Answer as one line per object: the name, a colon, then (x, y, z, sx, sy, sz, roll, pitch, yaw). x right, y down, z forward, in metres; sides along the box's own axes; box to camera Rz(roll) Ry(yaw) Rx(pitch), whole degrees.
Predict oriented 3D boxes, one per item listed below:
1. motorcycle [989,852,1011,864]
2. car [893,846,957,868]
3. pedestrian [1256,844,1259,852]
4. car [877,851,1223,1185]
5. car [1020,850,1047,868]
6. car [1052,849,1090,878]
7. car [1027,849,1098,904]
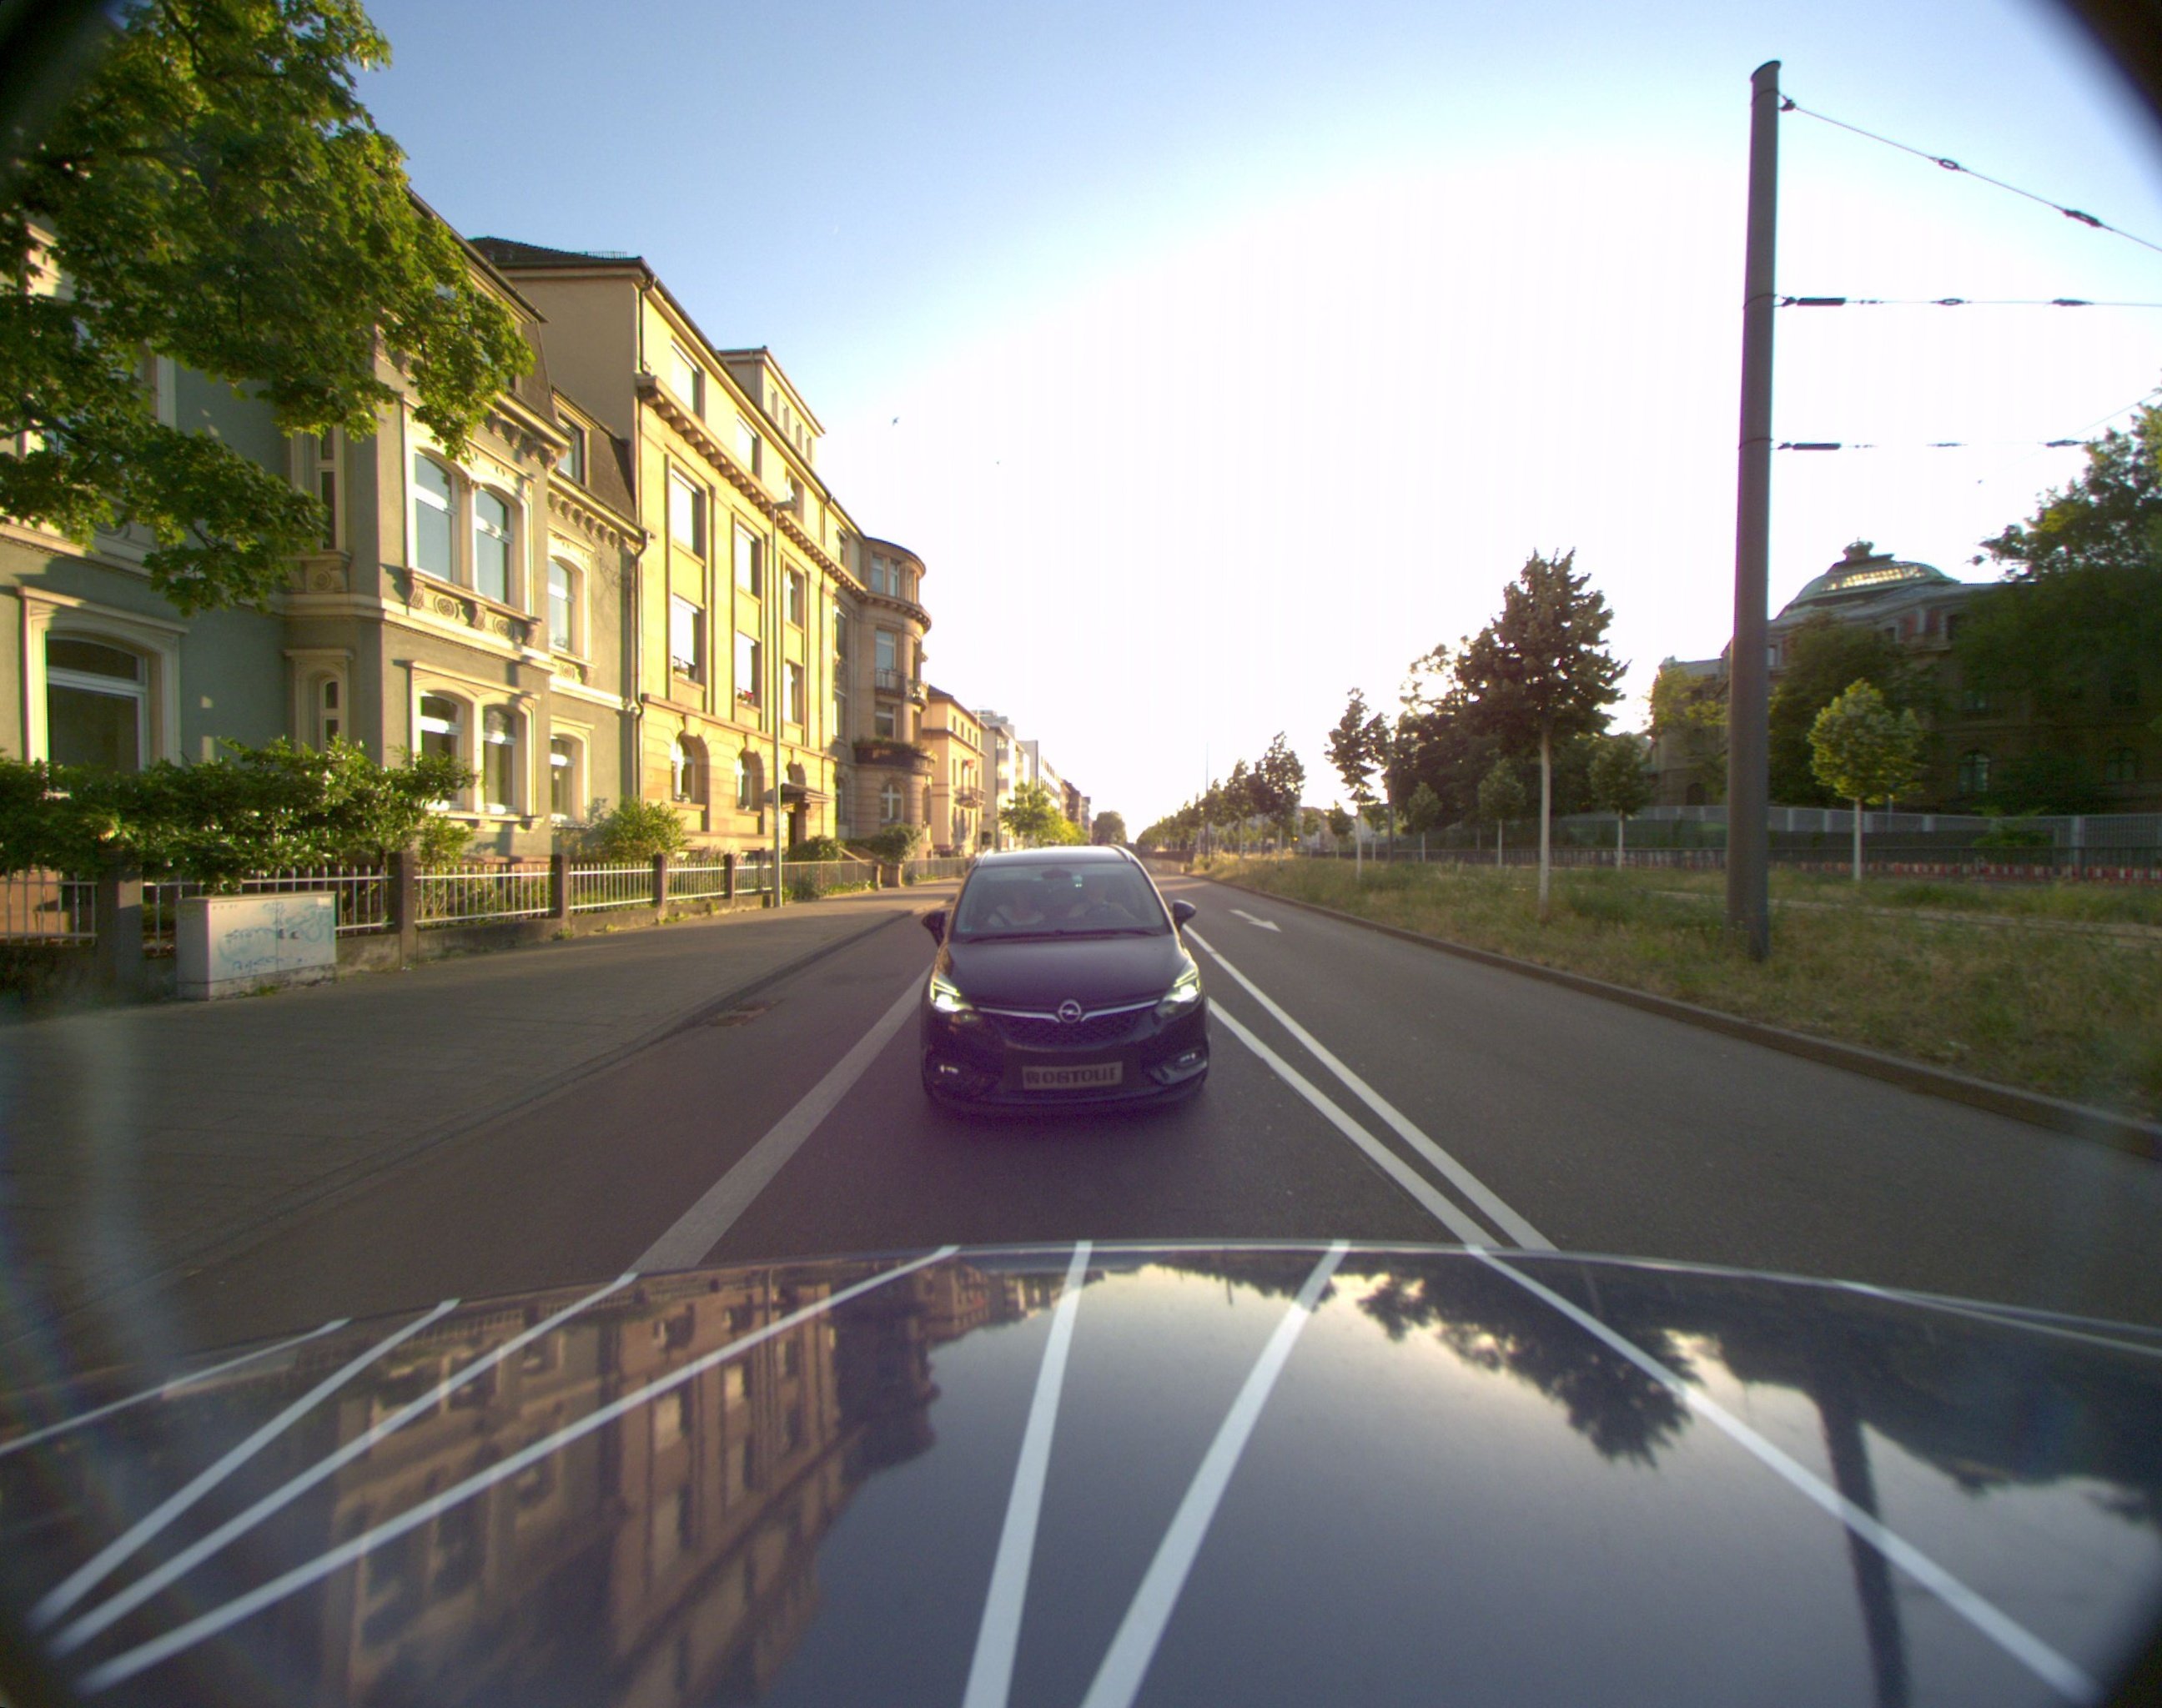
motorcycle: (-7.479, 0.328, 70.259, 1.848, 1.090, 0.576, -1, 1, 8)
car: (-11.021, 0.216, 53.929, 4.096, 1.472, 1.938, -1, 1, 3)
pedestrian: (40.099, -1.339, 172.877, 0.646, 1.702, 0.838, 0, 1, 10)
car: (-0.285, 0.836, 6.363, 1.771, 1.649, 4.850, -1, 1, -3)
car: (-3.866, 0.401, 62.858, 1.882, 1.394, 4.100, -1, 0, 1)
car: (-0.485, 0.493, 40.226, 1.859, 1.425, 4.843, -2, -1, 0)
car: (-0.477, 0.644, 22.773, 1.859, 1.425, 4.843, -2, -1, 0)
